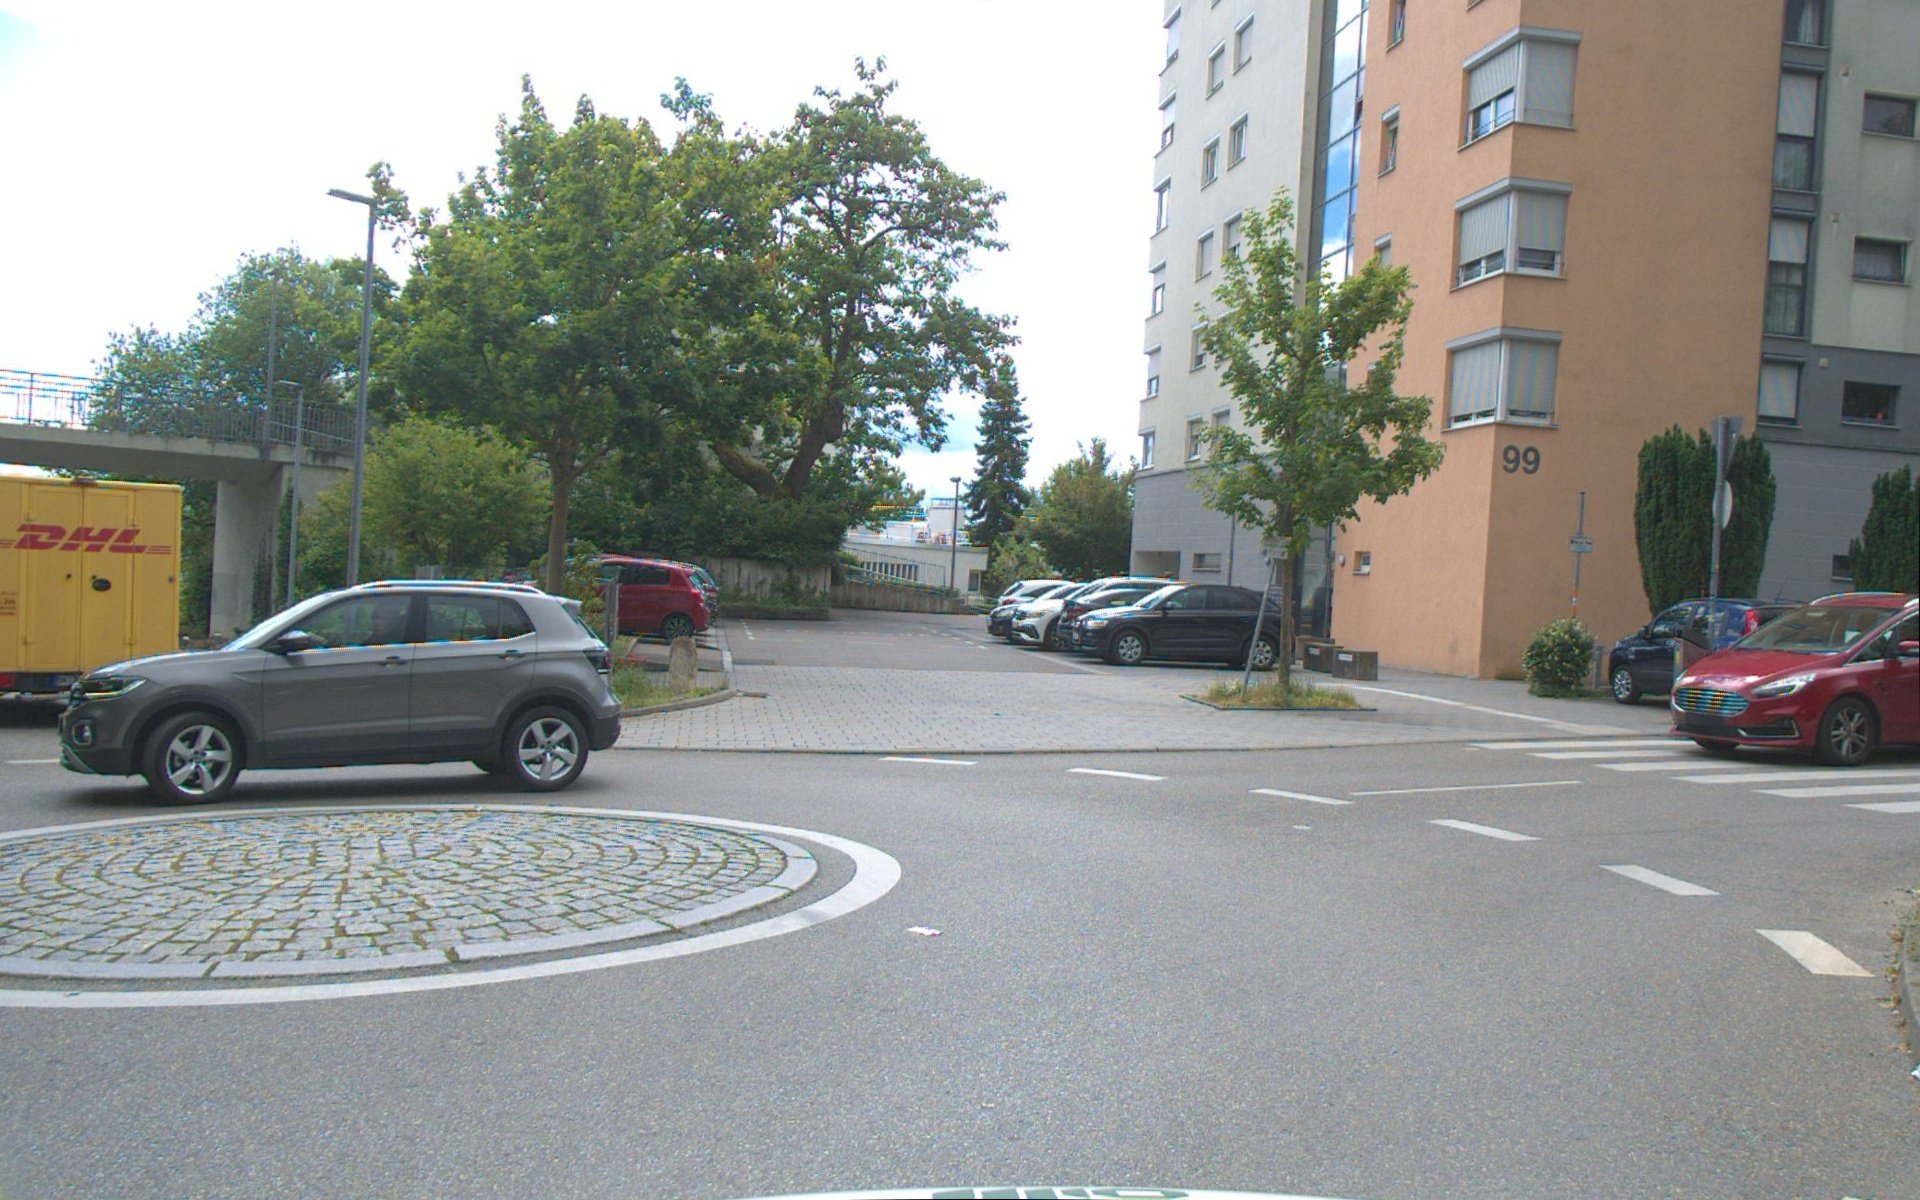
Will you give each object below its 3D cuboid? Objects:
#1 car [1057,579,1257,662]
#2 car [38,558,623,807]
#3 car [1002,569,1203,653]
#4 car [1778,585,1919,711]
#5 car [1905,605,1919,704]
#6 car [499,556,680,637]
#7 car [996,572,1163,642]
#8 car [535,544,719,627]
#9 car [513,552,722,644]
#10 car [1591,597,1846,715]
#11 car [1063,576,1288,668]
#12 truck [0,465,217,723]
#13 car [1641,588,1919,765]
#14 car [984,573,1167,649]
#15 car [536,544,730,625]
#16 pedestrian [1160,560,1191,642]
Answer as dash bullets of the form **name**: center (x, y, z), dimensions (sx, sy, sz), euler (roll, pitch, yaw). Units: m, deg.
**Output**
- **car**: center (4.001, 0.414, 33.966), dimensions (3.753, 1.484, 1.690), euler (3, -1, -6)
- **car**: center (-4.758, 0.573, 12.654), dimensions (3.952, 1.646, 1.706), euler (1, -1, -29)
- **car**: center (3.128, 0.253, 36.546), dimensions (4.048, 1.621, 1.687), euler (3, -1, -13)
- **car**: center (13.443, 0.639, 23.326), dimensions (1.539, 1.688, 3.769), euler (0, 0, -9)
- **car**: center (15.641, 0.828, 23.741), dimensions (1.606, 1.508, 3.769), euler (0, 0, -9)
- **car**: center (-7.813, -0.065, 35.130), dimensions (3.584, 1.524, 1.680), euler (3, -1, -11)
- **car**: center (2.955, 0.175, 41.458), dimensions (3.904, 1.544, 1.755), euler (3, -1, -6)
- **car**: center (-7.549, -0.302, 37.553), dimensions (3.918, 1.642, 1.938), euler (3, -1, -13)
- **car**: center (-6.240, -0.025, 30.354), dimensions (3.584, 1.464, 1.680), euler (3, -1, -11)
- **car**: center (10.493, 0.723, 23.144), dimensions (1.473, 1.502, 3.516), euler (0, 0, -11)
- **car**: center (4.117, 0.424, 31.918), dimensions (3.963, 1.544, 1.753), euler (3, -1, -6)
- **truck**: center (-11.645, -0.036, 20.804), dimensions (2.450, 2.750, 6.727), euler (3, -2, -39)
- **car**: center (9.628, 0.712, 17.309), dimensions (4.451, 1.673, 1.970), euler (0, 0, -18)
- **car**: center (2.651, 0.250, 38.495), dimensions (3.963, 1.544, 1.753), euler (3, -1, -6)
- **car**: center (-7.954, -0.364, 40.265), dimensions (4.466, 1.697, 1.938), euler (3, -1, -13)
- **pedestrian**: center (4.990, 0.021, 38.293), dimensions (0.471, 1.885, 0.504), euler (3, -1, -19)
